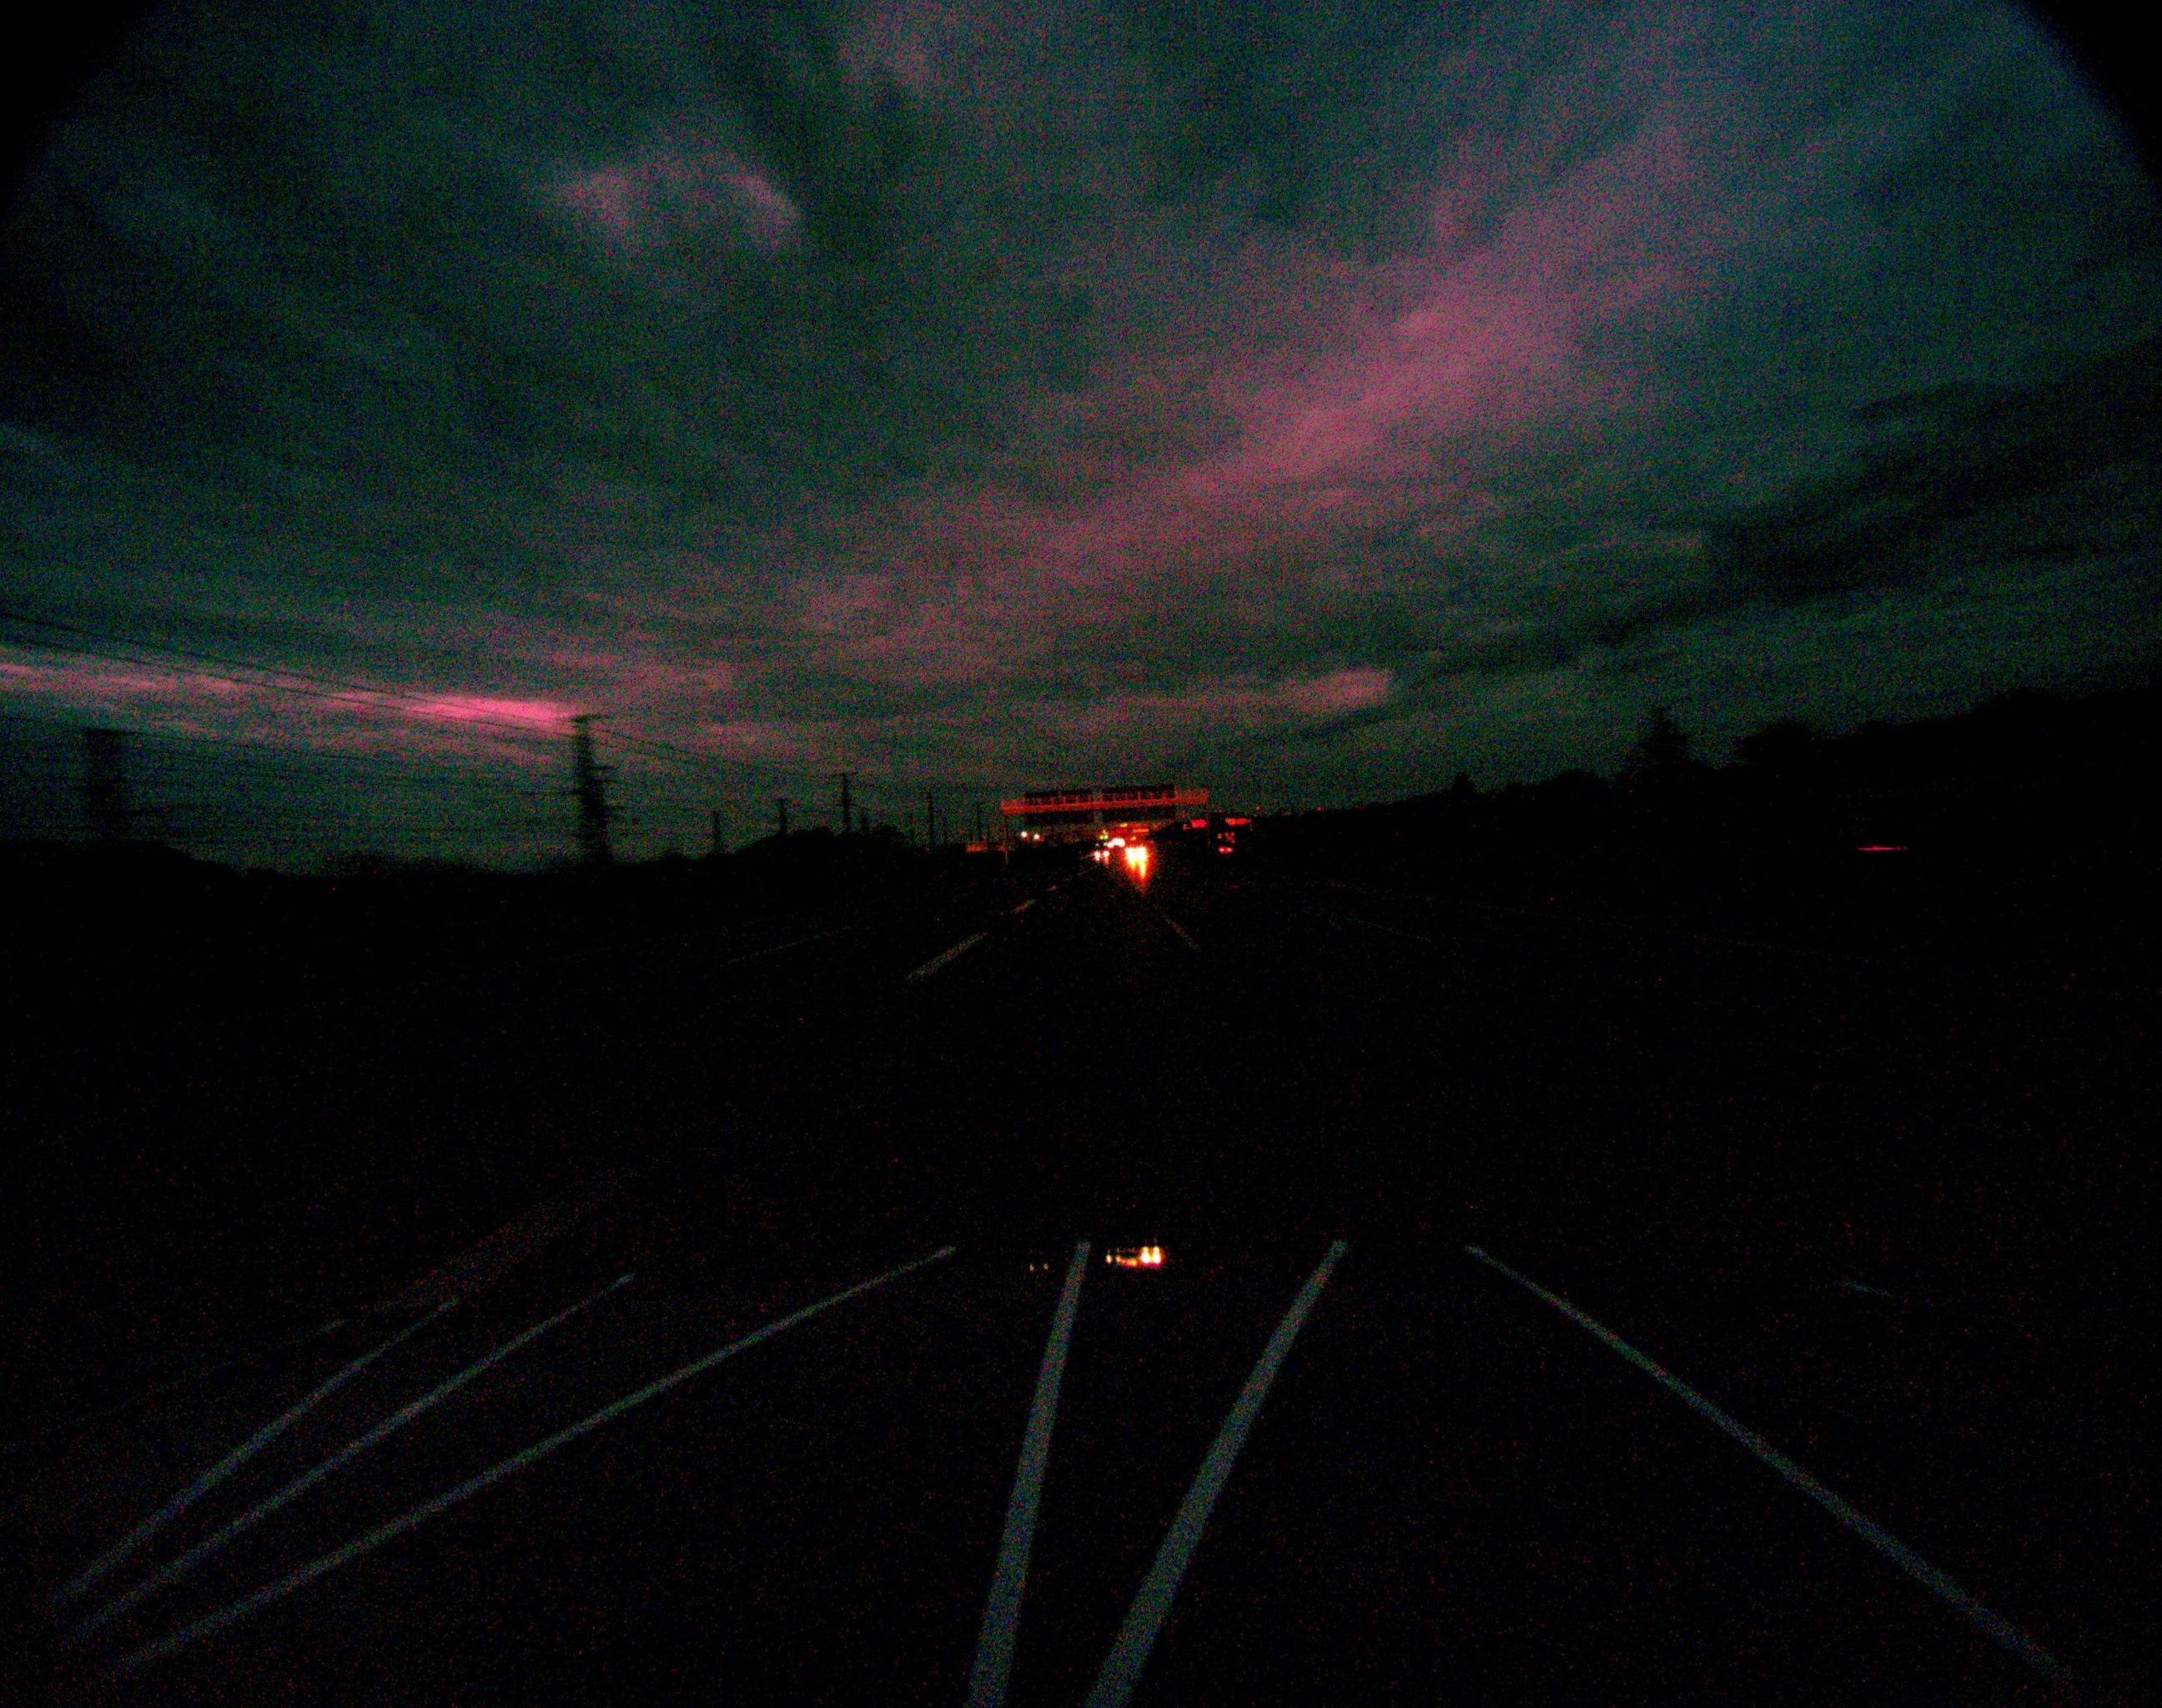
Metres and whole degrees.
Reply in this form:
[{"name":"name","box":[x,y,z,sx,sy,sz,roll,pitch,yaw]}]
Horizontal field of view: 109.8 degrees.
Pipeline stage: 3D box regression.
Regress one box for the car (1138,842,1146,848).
[{"name":"car","box":[16.487,-2.387,205.178,1.998,1.342,4.175,-4,1,1]}]

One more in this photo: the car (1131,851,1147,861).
[{"name":"car","box":[8.046,0.228,106.073,1.998,1.342,4.175,1,1,2]}]

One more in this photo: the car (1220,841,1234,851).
[{"name":"car","box":[25.581,-1.403,133.238,1.693,1.393,4.429,-5,2,3]}]

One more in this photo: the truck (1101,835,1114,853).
[{"name":"truck","box":[6.547,-2.437,188.280,3.059,4.047,10.523,-1,0,3]}]

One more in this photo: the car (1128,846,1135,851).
[{"name":"car","box":[14.819,-1.732,222.616,1.998,1.342,4.175,-4,1,3]}]

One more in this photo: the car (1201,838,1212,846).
[{"name":"car","box":[27.395,-2.663,166.065,1.693,1.393,4.429,-5,2,3]}]
